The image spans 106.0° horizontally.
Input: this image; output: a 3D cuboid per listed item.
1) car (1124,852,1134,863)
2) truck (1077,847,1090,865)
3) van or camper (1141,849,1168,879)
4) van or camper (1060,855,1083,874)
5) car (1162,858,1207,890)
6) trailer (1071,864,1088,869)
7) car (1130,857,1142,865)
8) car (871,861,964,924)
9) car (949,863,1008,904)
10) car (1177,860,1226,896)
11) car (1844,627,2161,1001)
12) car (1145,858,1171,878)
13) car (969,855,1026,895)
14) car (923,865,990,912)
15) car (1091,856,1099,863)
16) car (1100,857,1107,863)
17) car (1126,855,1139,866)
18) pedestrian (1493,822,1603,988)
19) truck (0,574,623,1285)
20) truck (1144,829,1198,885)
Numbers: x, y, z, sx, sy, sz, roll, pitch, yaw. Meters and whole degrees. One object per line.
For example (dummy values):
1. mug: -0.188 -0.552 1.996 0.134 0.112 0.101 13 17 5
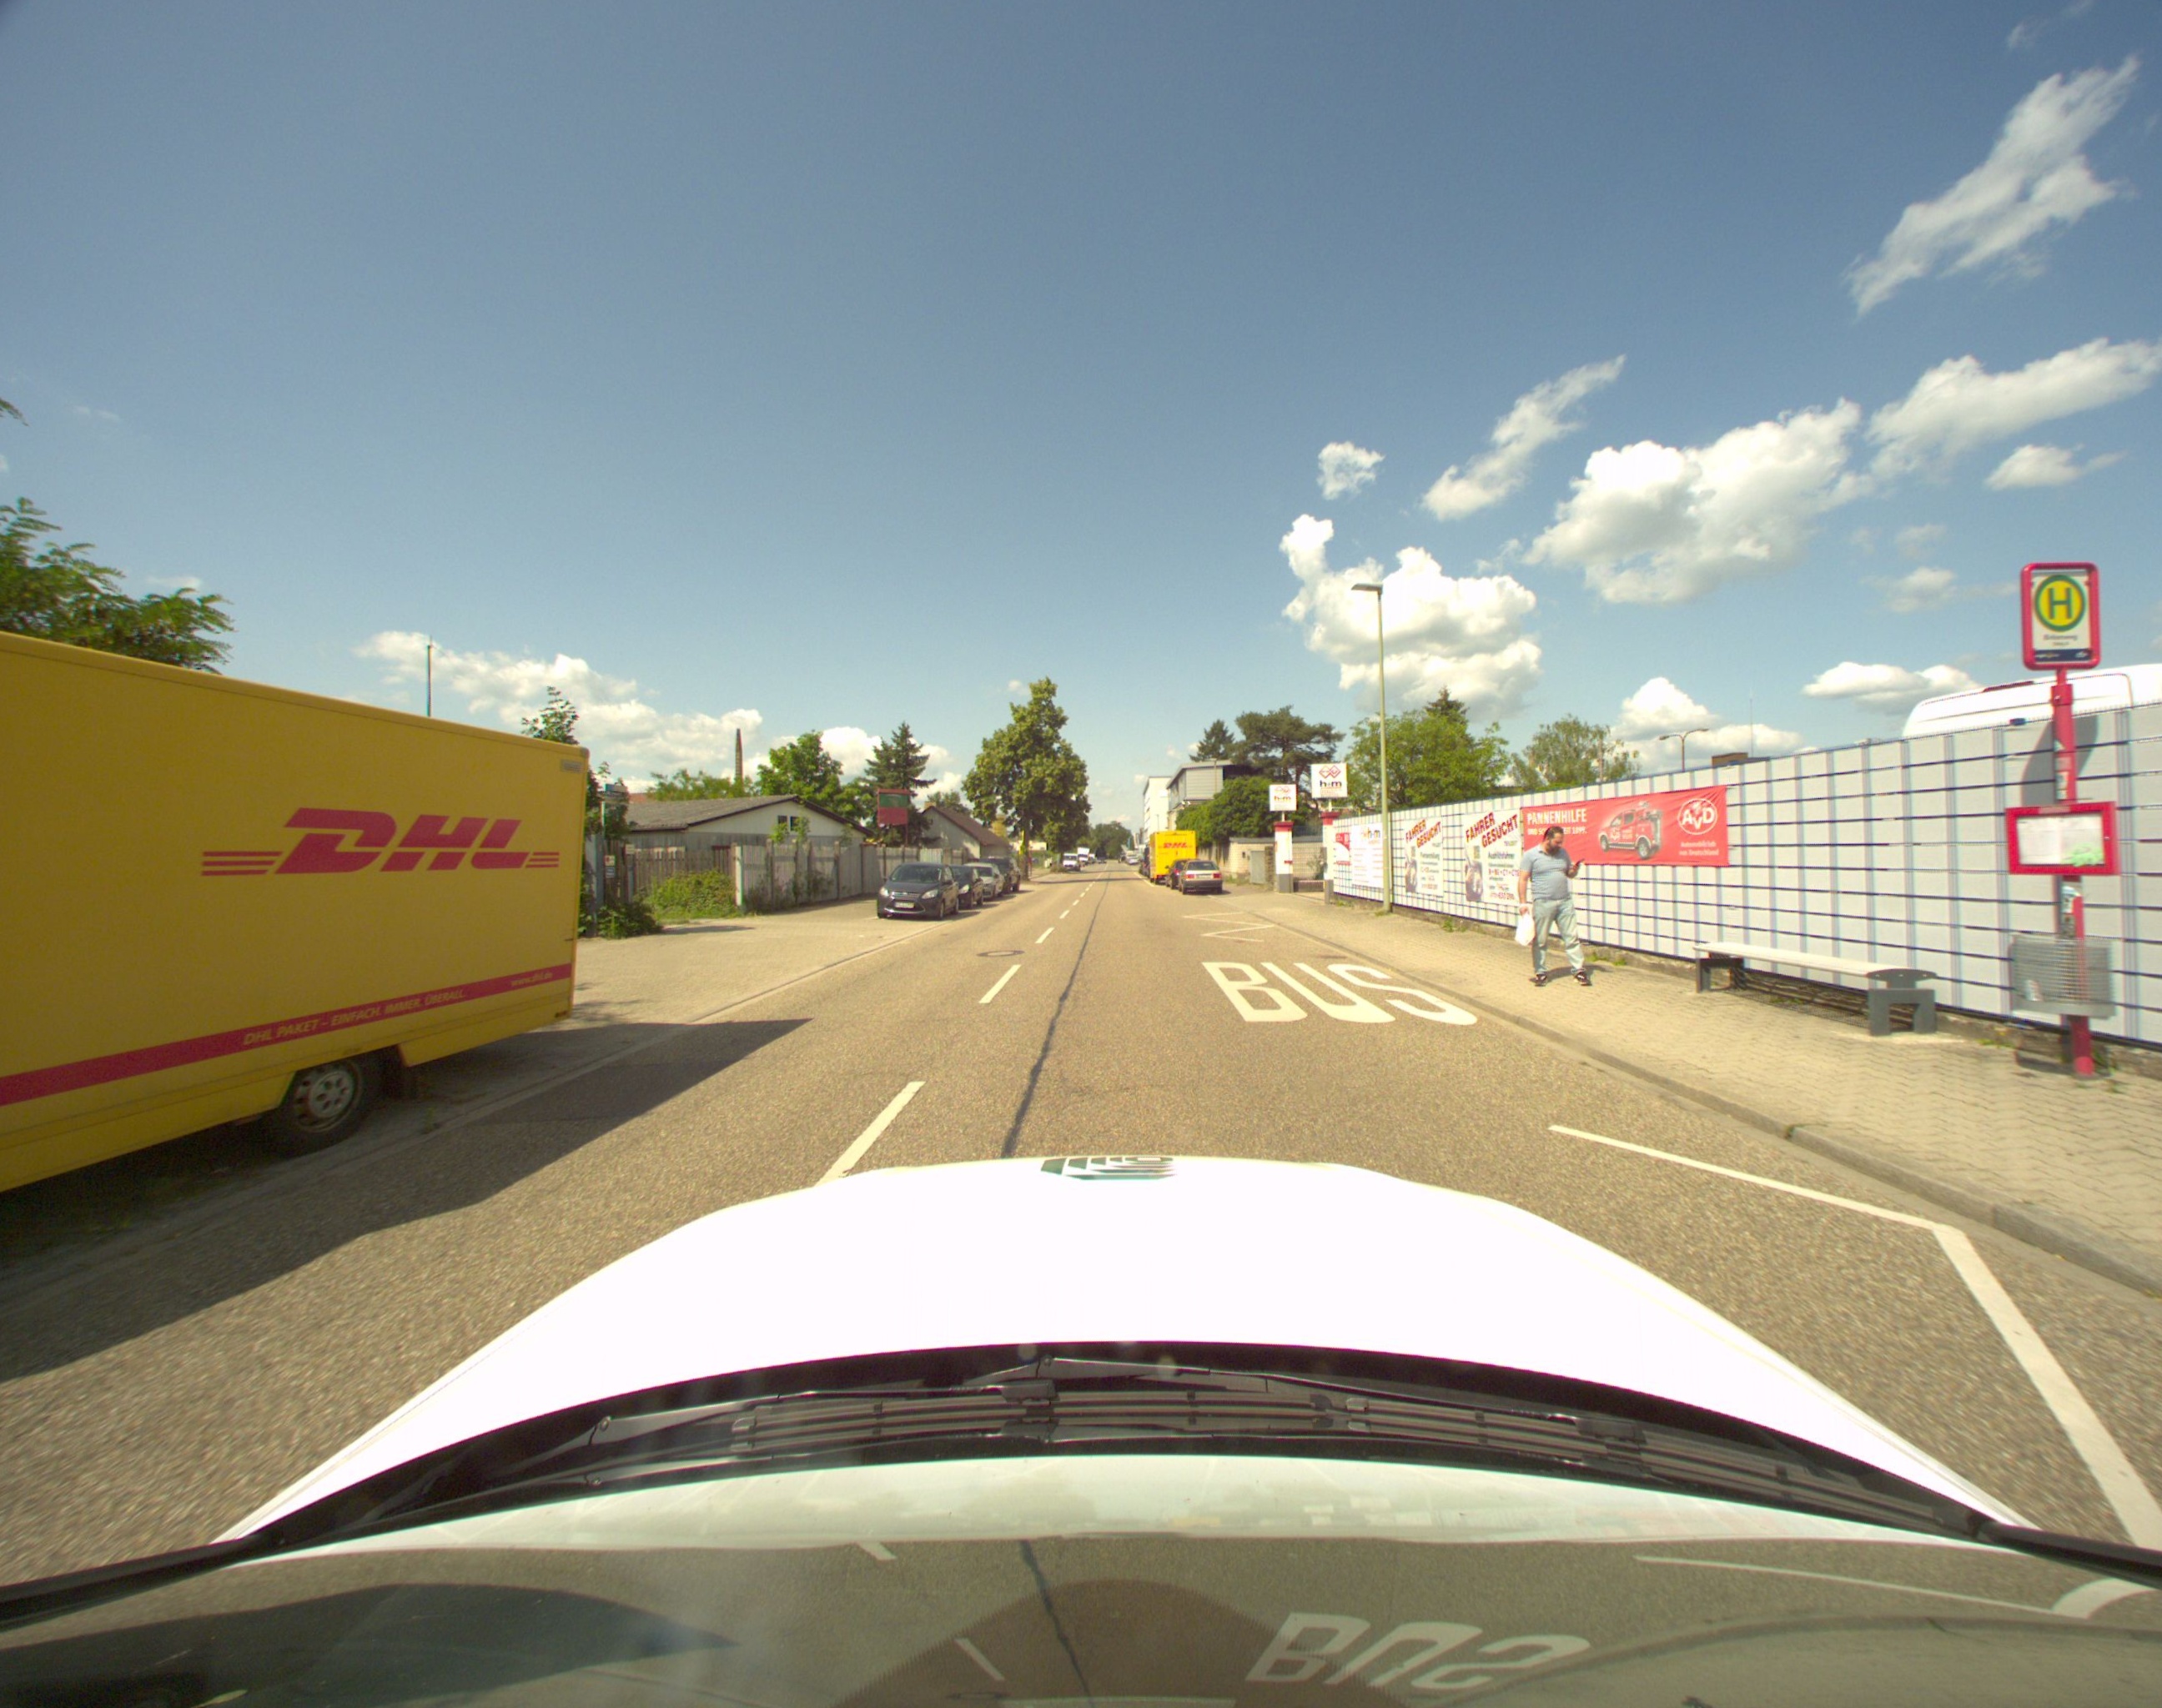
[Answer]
1. car: 9.617 0.764 162.966 1.701 2.090 4.002 -1 0 2
2. truck: 0.430 0.393 150.794 2.021 3.154 6.504 -1 0 3
3. van or camper: 5.939 0.802 66.465 1.986 2.291 5.451 0 0 2
4. van or camper: -1.144 1.304 106.404 2.163 2.413 7.709 -1 0 6
5. car: 4.956 0.938 39.336 1.656 1.441 4.283 -1 0 1
6. trailer: -0.218 2.045 136.620 2.407 0.813 5.541 1 0 3
7. car: 9.302 1.185 138.538 1.921 1.310 4.002 -1 0 2
8. car: -4.653 1.032 23.853 1.718 1.604 4.414 2 0 1
9. car: -4.239 1.178 34.434 1.726 1.518 4.744 1 0 2
10. car: 5.050 0.977 34.583 1.645 1.387 4.426 0 0 3
11. car: 9.907 -0.335 7.050 4.899 2.652 2.069 -1 -1 -6
12. car: 5.709 0.996 60.563 1.675 1.442 4.769 0 0 2
13. car: -4.016 1.003 39.997 1.910 1.822 4.791 -1 0 4
14. car: -4.355 1.166 29.029 1.622 1.448 4.028 3 0 1
15. car: 3.259 1.323 191.221 1.706 1.650 4.002 -1 0 2
16. car: 5.229 1.476 188.050 1.648 1.324 4.419 -1 0 3
17. car: 9.609 1.192 152.099 2.207 2.013 5.488 -1 0 2
18. pedestrian: 5.108 0.544 8.942 0.714 1.697 0.522 -7 -1 -3
19. truck: -5.474 0.291 3.824 2.307 2.862 7.108 1 0 2
20. truck: 4.998 0.186 46.223 2.465 2.940 7.190 0 0 1
